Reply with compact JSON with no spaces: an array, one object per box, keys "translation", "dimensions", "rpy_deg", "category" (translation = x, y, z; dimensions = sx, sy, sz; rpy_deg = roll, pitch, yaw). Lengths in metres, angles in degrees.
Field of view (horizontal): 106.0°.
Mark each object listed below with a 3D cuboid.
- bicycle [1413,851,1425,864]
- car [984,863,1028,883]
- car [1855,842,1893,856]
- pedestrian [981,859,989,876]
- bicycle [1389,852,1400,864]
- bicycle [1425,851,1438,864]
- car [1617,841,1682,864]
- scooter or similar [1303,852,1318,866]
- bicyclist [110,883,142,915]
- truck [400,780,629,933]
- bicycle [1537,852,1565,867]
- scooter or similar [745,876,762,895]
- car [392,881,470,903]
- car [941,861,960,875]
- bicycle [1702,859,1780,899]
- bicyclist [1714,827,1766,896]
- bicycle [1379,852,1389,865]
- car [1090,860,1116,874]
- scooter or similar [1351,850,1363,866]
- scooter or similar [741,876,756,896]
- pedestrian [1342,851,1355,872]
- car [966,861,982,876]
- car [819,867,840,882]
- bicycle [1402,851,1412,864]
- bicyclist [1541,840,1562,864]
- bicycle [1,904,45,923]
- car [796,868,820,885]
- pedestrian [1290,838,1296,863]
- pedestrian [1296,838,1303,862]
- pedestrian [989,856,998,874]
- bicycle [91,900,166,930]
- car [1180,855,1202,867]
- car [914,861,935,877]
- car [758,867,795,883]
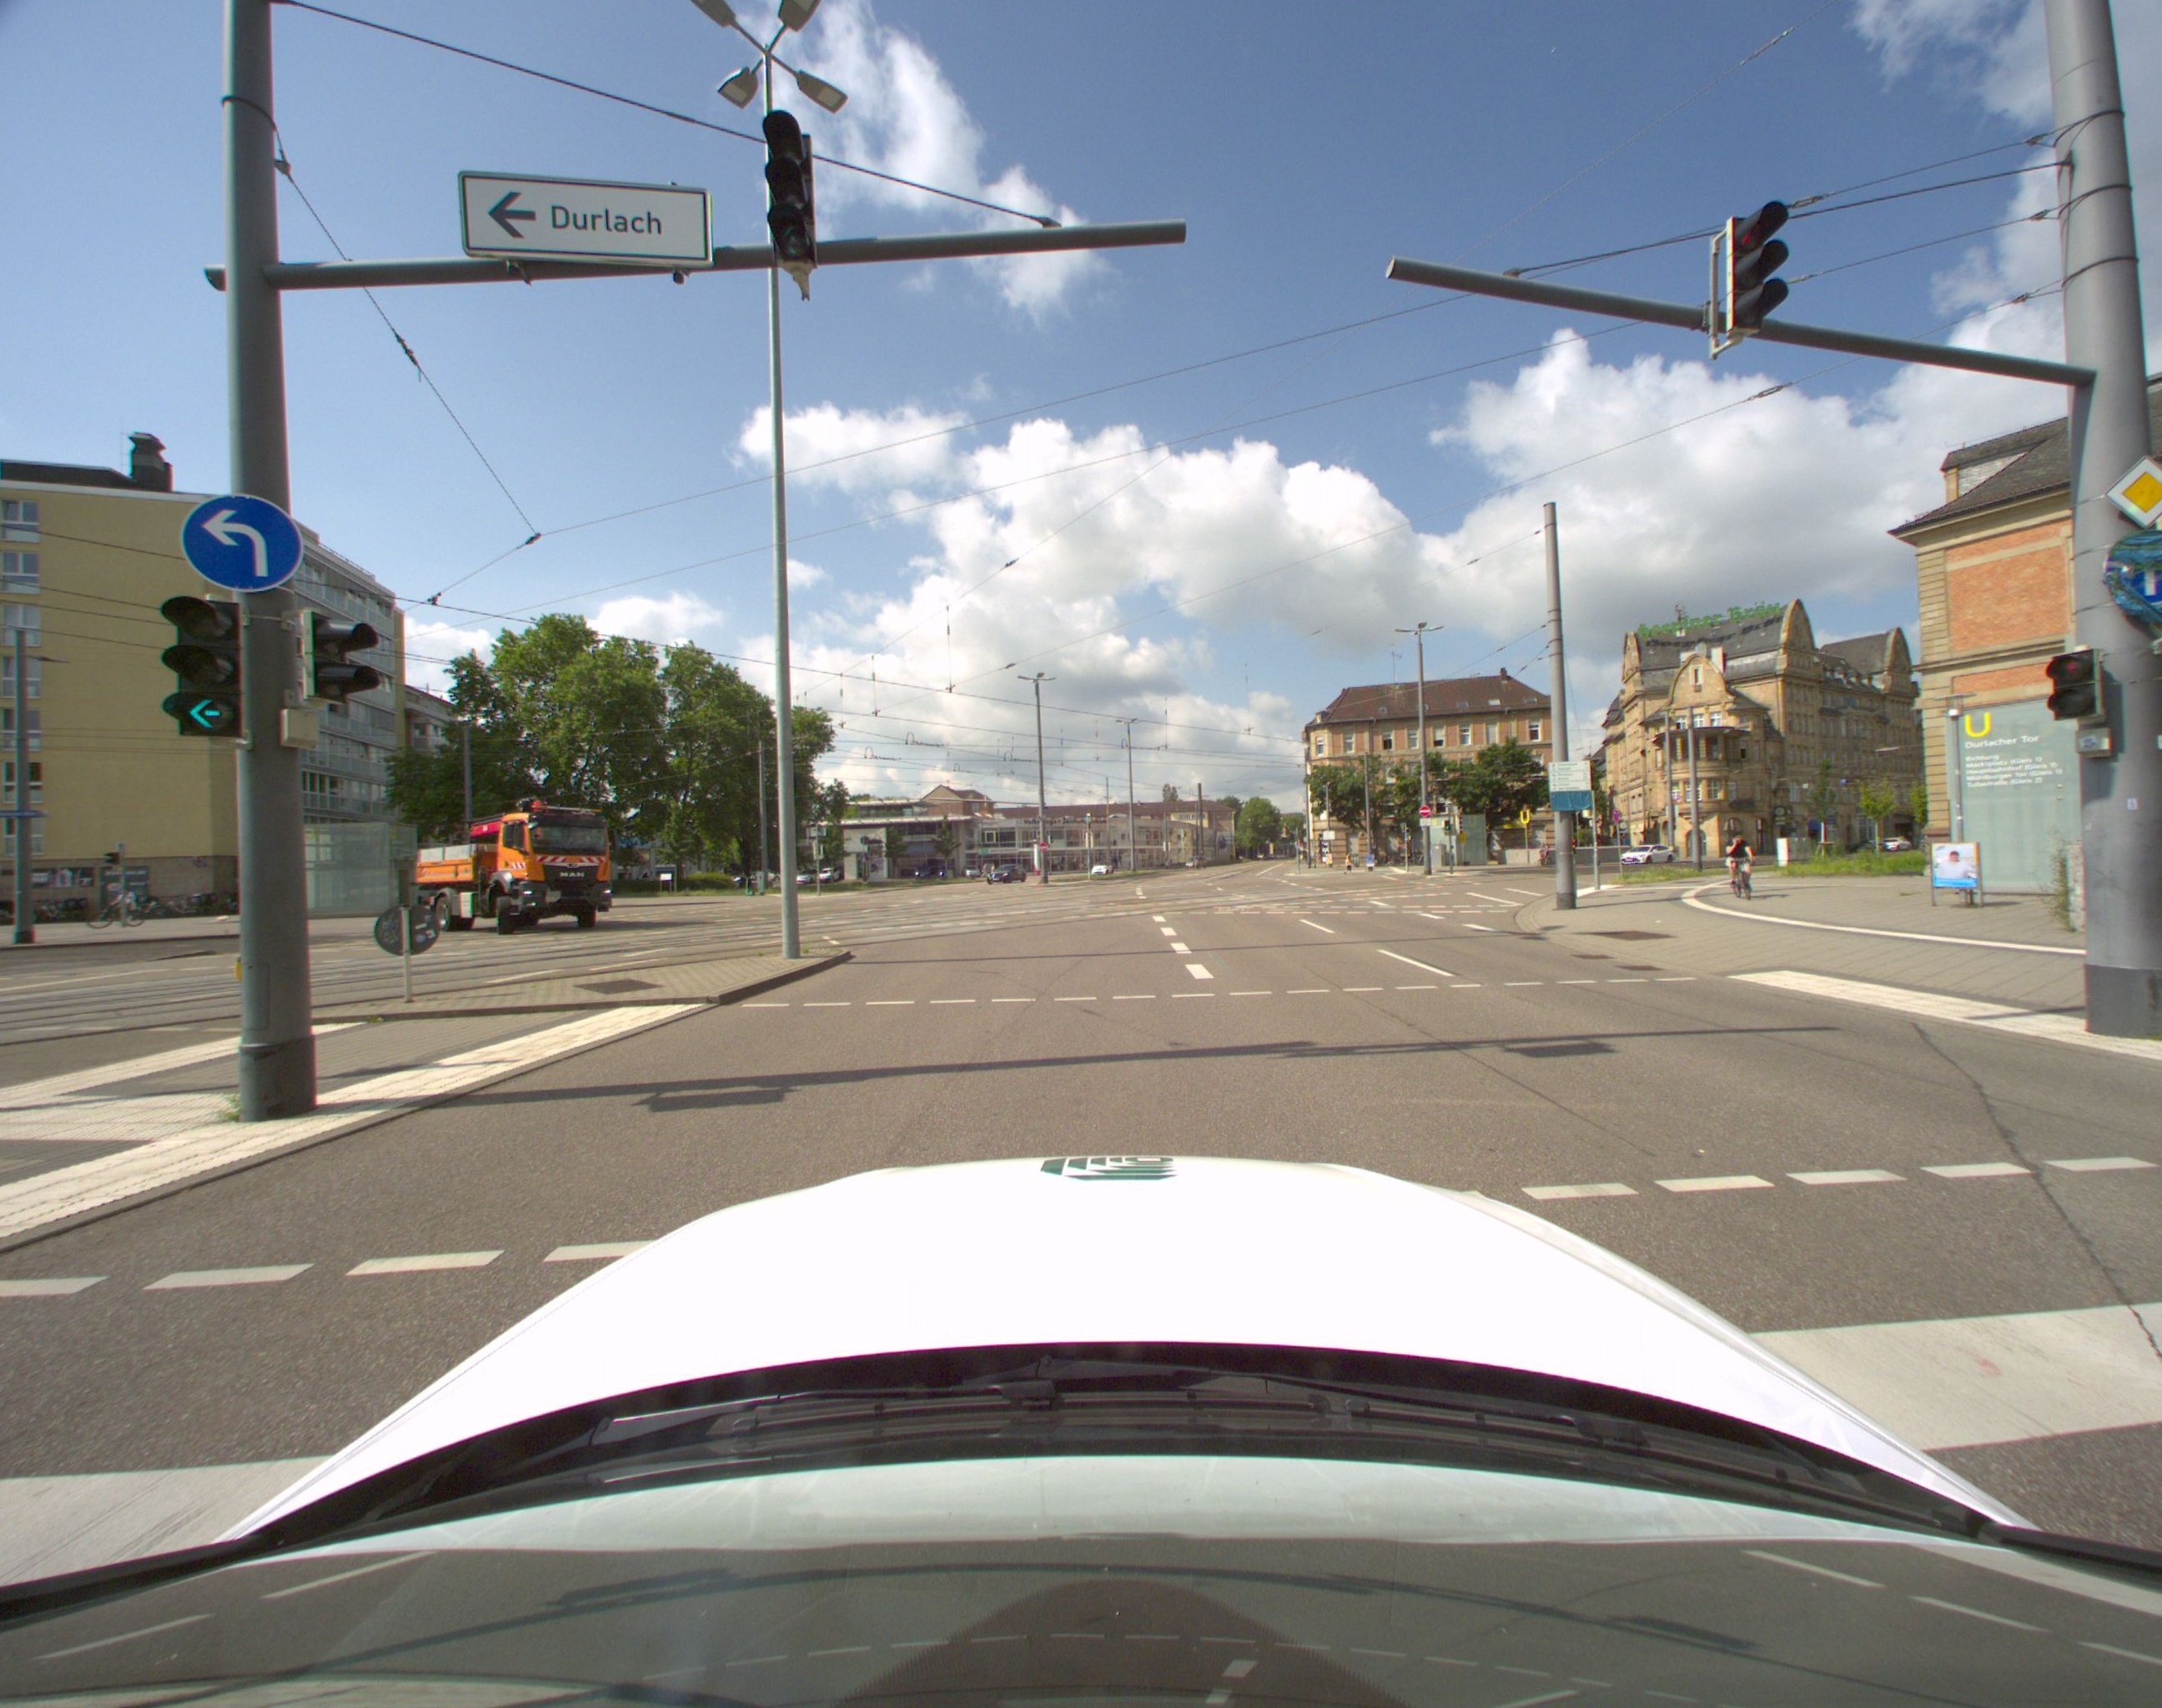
[{"translation":[31.670,0.312,76.316],"dimensions":[0.753,1.166,2.697],"rpy_deg":[-2,-1,18],"category":"bicycle"},{"translation":[-5.719,1.430,62.428],"dimensions":[1.849,1.376,3.960],"rpy_deg":[-2,-1,19],"category":"car"},{"translation":[81.754,-0.494,83.966],"dimensions":[4.012,1.384,1.852],"rpy_deg":[1,-2,-31],"category":"car"},{"translation":[-11.372,1.579,96.725],"dimensions":[0.868,2.014,0.702],"rpy_deg":[-2,-1,-8],"category":"pedestrian"},{"translation":[29.708,0.366,77.125],"dimensions":[0.753,1.166,2.697],"rpy_deg":[-2,-1,18],"category":"bicycle"},{"translation":[32.853,0.289,76.372],"dimensions":[0.753,1.166,2.697],"rpy_deg":[-2,-1,18],"category":"bicycle"},{"translation":[41.025,-0.093,58.729],"dimensions":[4.516,1.596,1.940],"rpy_deg":[0,-2,-27],"category":"car"},{"translation":[22.389,0.512,79.539],"dimensions":[1.169,1.386,2.811],"rpy_deg":[0,-1,10],"category":"scooter or similar"},{"translation":[-40.905,1.927,34.887],"dimensions":[0.391,1.336,0.786],"rpy_deg":[0,-1,10],"category":"bicyclist"},{"translation":[-17.258,0.146,24.614],"dimensions":[7.967,4.009,2.855],"rpy_deg":[-1,-2,33],"category":"truck"},{"translation":[35.265,0.414,61.147],"dimensions":[1.780,0.956,0.840],"rpy_deg":[-2,-2,-22],"category":"bicycle"},{"translation":[-20.557,1.980,51.064],"dimensions":[1.051,1.197,0.384],"rpy_deg":[-1,-2,27],"category":"scooter or similar"},{"translation":[-47.928,2.799,60.169],"dimensions":[4.092,1.514,1.798],"rpy_deg":[0,-1,-18],"category":"car"},{"translation":[-15.730,1.686,98.007],"dimensions":[1.991,1.726,3.992],"rpy_deg":[0,-1,-5],"category":"car"},{"translation":[16.454,0.599,20.364],"dimensions":[0.753,0.875,1.816],"rpy_deg":[-5,-1,13],"category":"bicycle"},{"translation":[16.494,0.183,20.395],"dimensions":[0.573,1.672,0.940],"rpy_deg":[-3,-1,13],"category":"bicyclist"},{"translation":[28.778,0.399,77.358],"dimensions":[0.753,1.166,2.697],"rpy_deg":[-2,-1,18],"category":"bicycle"},{"translation":[2.378,1.378,86.774],"dimensions":[1.671,1.470,3.675],"rpy_deg":[-1,-1,21],"category":"car"},{"translation":[26.260,0.385,77.501],"dimensions":[0.871,1.482,2.022],"rpy_deg":[-2,-1,16],"category":"scooter or similar"},{"translation":[-20.601,1.994,50.508],"dimensions":[1.051,1.197,0.384],"rpy_deg":[-1,-2,37],"category":"scooter or similar"},{"translation":[18.956,0.524,57.727],"dimensions":[0.733,1.516,0.548],"rpy_deg":[-2,-1,23],"category":"pedestrian"},{"translation":[-13.153,1.789,99.911],"dimensions":[1.927,1.684,3.988],"rpy_deg":[0,-1,-9],"category":"car"},{"translation":[-30.584,2.469,99.247],"dimensions":[1.784,1.682,3.989],"rpy_deg":[-2,0,-8],"category":"car"},{"translation":[30.654,0.309,76.589],"dimensions":[0.753,1.166,2.697],"rpy_deg":[-1,-1,18],"category":"bicycle"},{"translation":[35.287,-0.147,61.047],"dimensions":[1.144,1.674,0.613],"rpy_deg":[-2,-1,-8],"category":"bicyclist"},{"translation":[-54.231,3.043,41.768],"dimensions":[1.462,0.922,0.292],"rpy_deg":[0,-2,-16],"category":"bicycle"},{"translation":[-33.067,2.744,98.785],"dimensions":[1.992,2.014,3.988],"rpy_deg":[1,-1,-8],"category":"car"},{"translation":[26.942,-0.471,103.514],"dimensions":[0.660,3.121,0.893],"rpy_deg":[-1,-2,25],"category":"pedestrian"},{"translation":[27.653,-0.482,103.158],"dimensions":[0.718,3.076,0.893],"rpy_deg":[-1,-2,25],"category":"pedestrian"},{"translation":[-10.133,1.233,94.126],"dimensions":[0.804,2.014,0.808],"rpy_deg":[-2,-1,1],"category":"pedestrian"},{"translation":[-40.876,2.610,34.990],"dimensions":[0.539,1.106,2.106],"rpy_deg":[-2,-1,11],"category":"bicycle"},{"translation":[14.734,0.916,108.956],"dimensions":[1.976,1.574,3.756],"rpy_deg":[-2,-1,21],"category":"car"},{"translation":[-18.893,1.821,98.520],"dimensions":[1.990,1.838,3.994],"rpy_deg":[-3,-1,-4],"category":"car"},{"translation":[-39.448,2.723,105.541],"dimensions":[3.968,2.014,2.003],"rpy_deg":[0,-1,5],"category":"car"}]
